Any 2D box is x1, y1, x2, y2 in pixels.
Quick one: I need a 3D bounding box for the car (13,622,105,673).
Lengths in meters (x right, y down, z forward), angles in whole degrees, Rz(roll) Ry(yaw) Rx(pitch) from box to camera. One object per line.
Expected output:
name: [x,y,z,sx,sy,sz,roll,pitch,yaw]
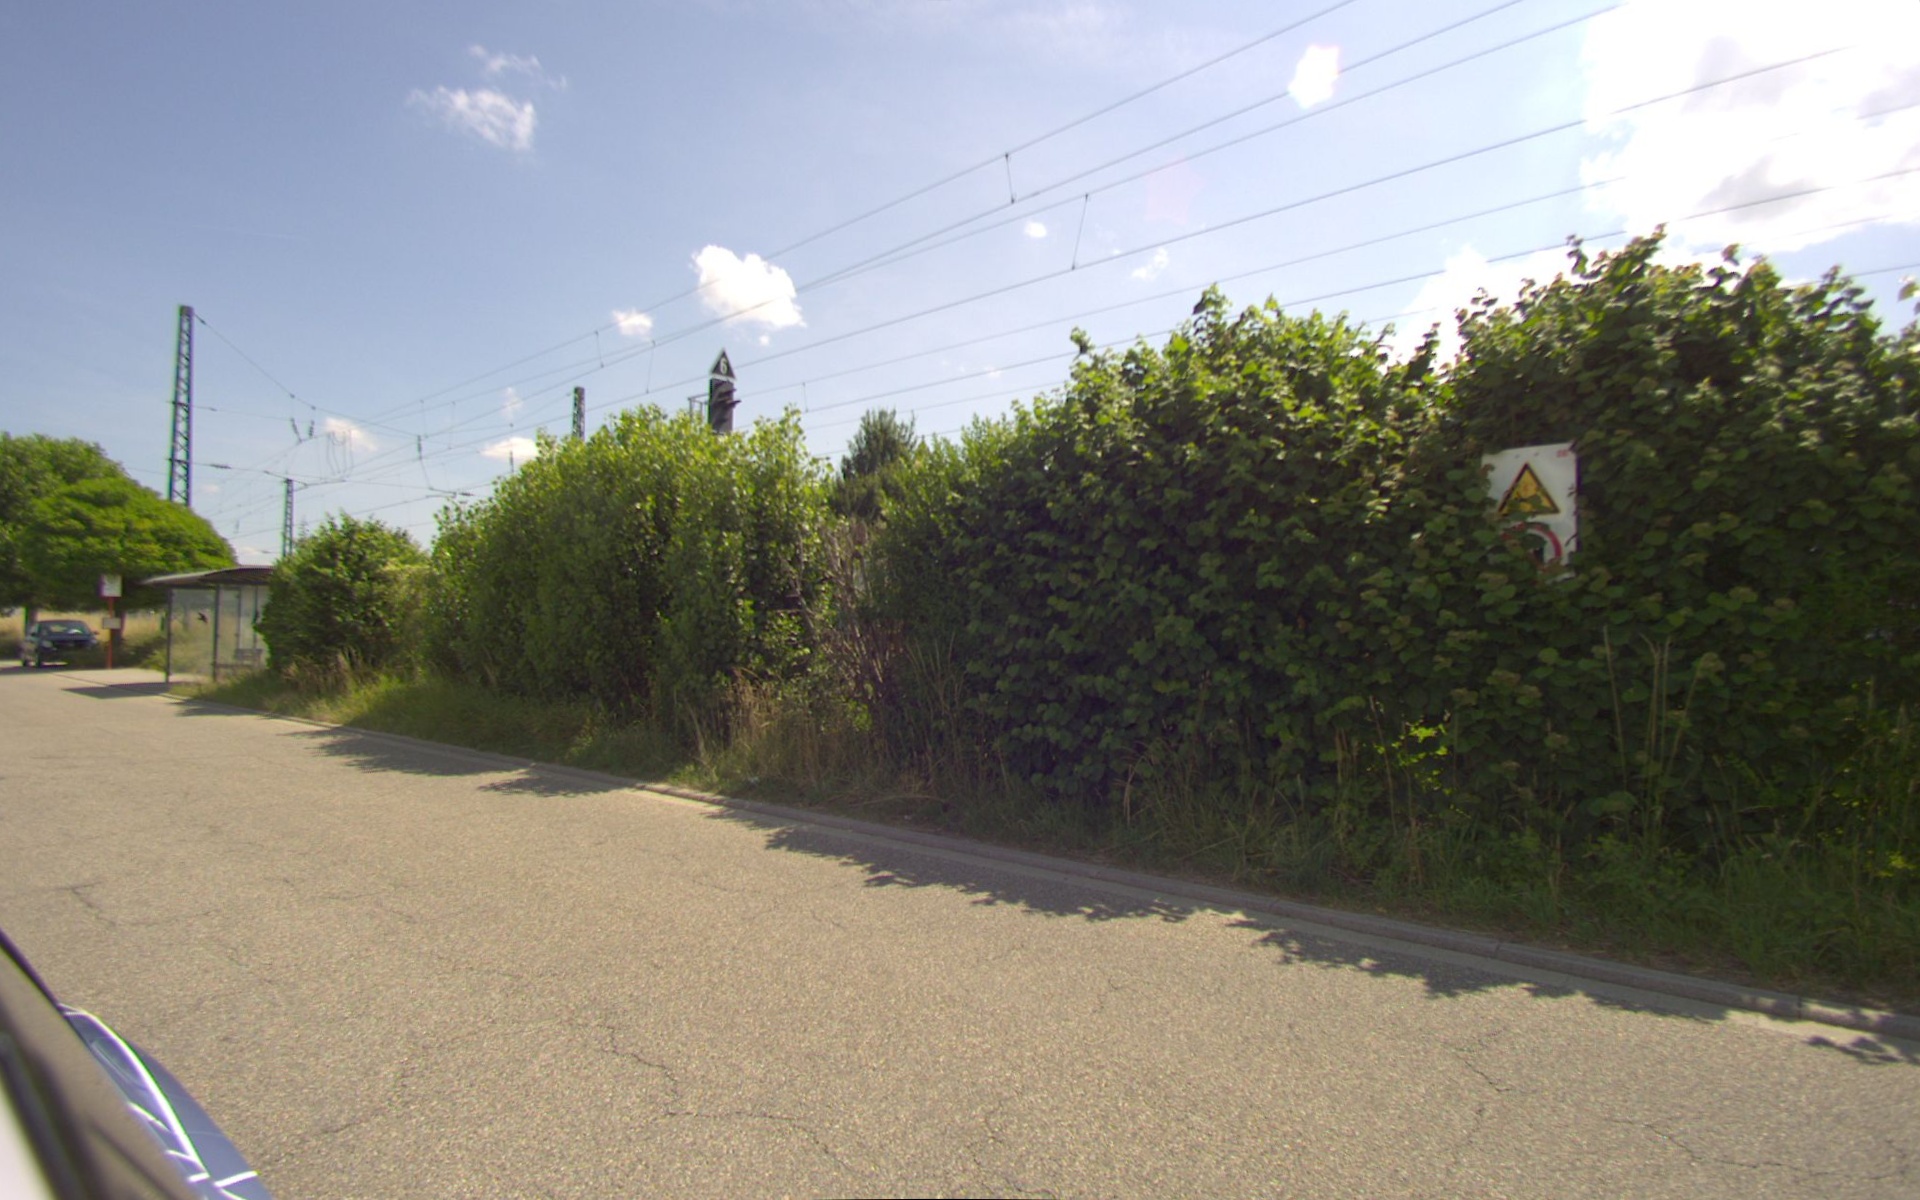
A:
car: [-30.117,1.561,33.809,3.575,1.608,1.724,-1,-2,39]
